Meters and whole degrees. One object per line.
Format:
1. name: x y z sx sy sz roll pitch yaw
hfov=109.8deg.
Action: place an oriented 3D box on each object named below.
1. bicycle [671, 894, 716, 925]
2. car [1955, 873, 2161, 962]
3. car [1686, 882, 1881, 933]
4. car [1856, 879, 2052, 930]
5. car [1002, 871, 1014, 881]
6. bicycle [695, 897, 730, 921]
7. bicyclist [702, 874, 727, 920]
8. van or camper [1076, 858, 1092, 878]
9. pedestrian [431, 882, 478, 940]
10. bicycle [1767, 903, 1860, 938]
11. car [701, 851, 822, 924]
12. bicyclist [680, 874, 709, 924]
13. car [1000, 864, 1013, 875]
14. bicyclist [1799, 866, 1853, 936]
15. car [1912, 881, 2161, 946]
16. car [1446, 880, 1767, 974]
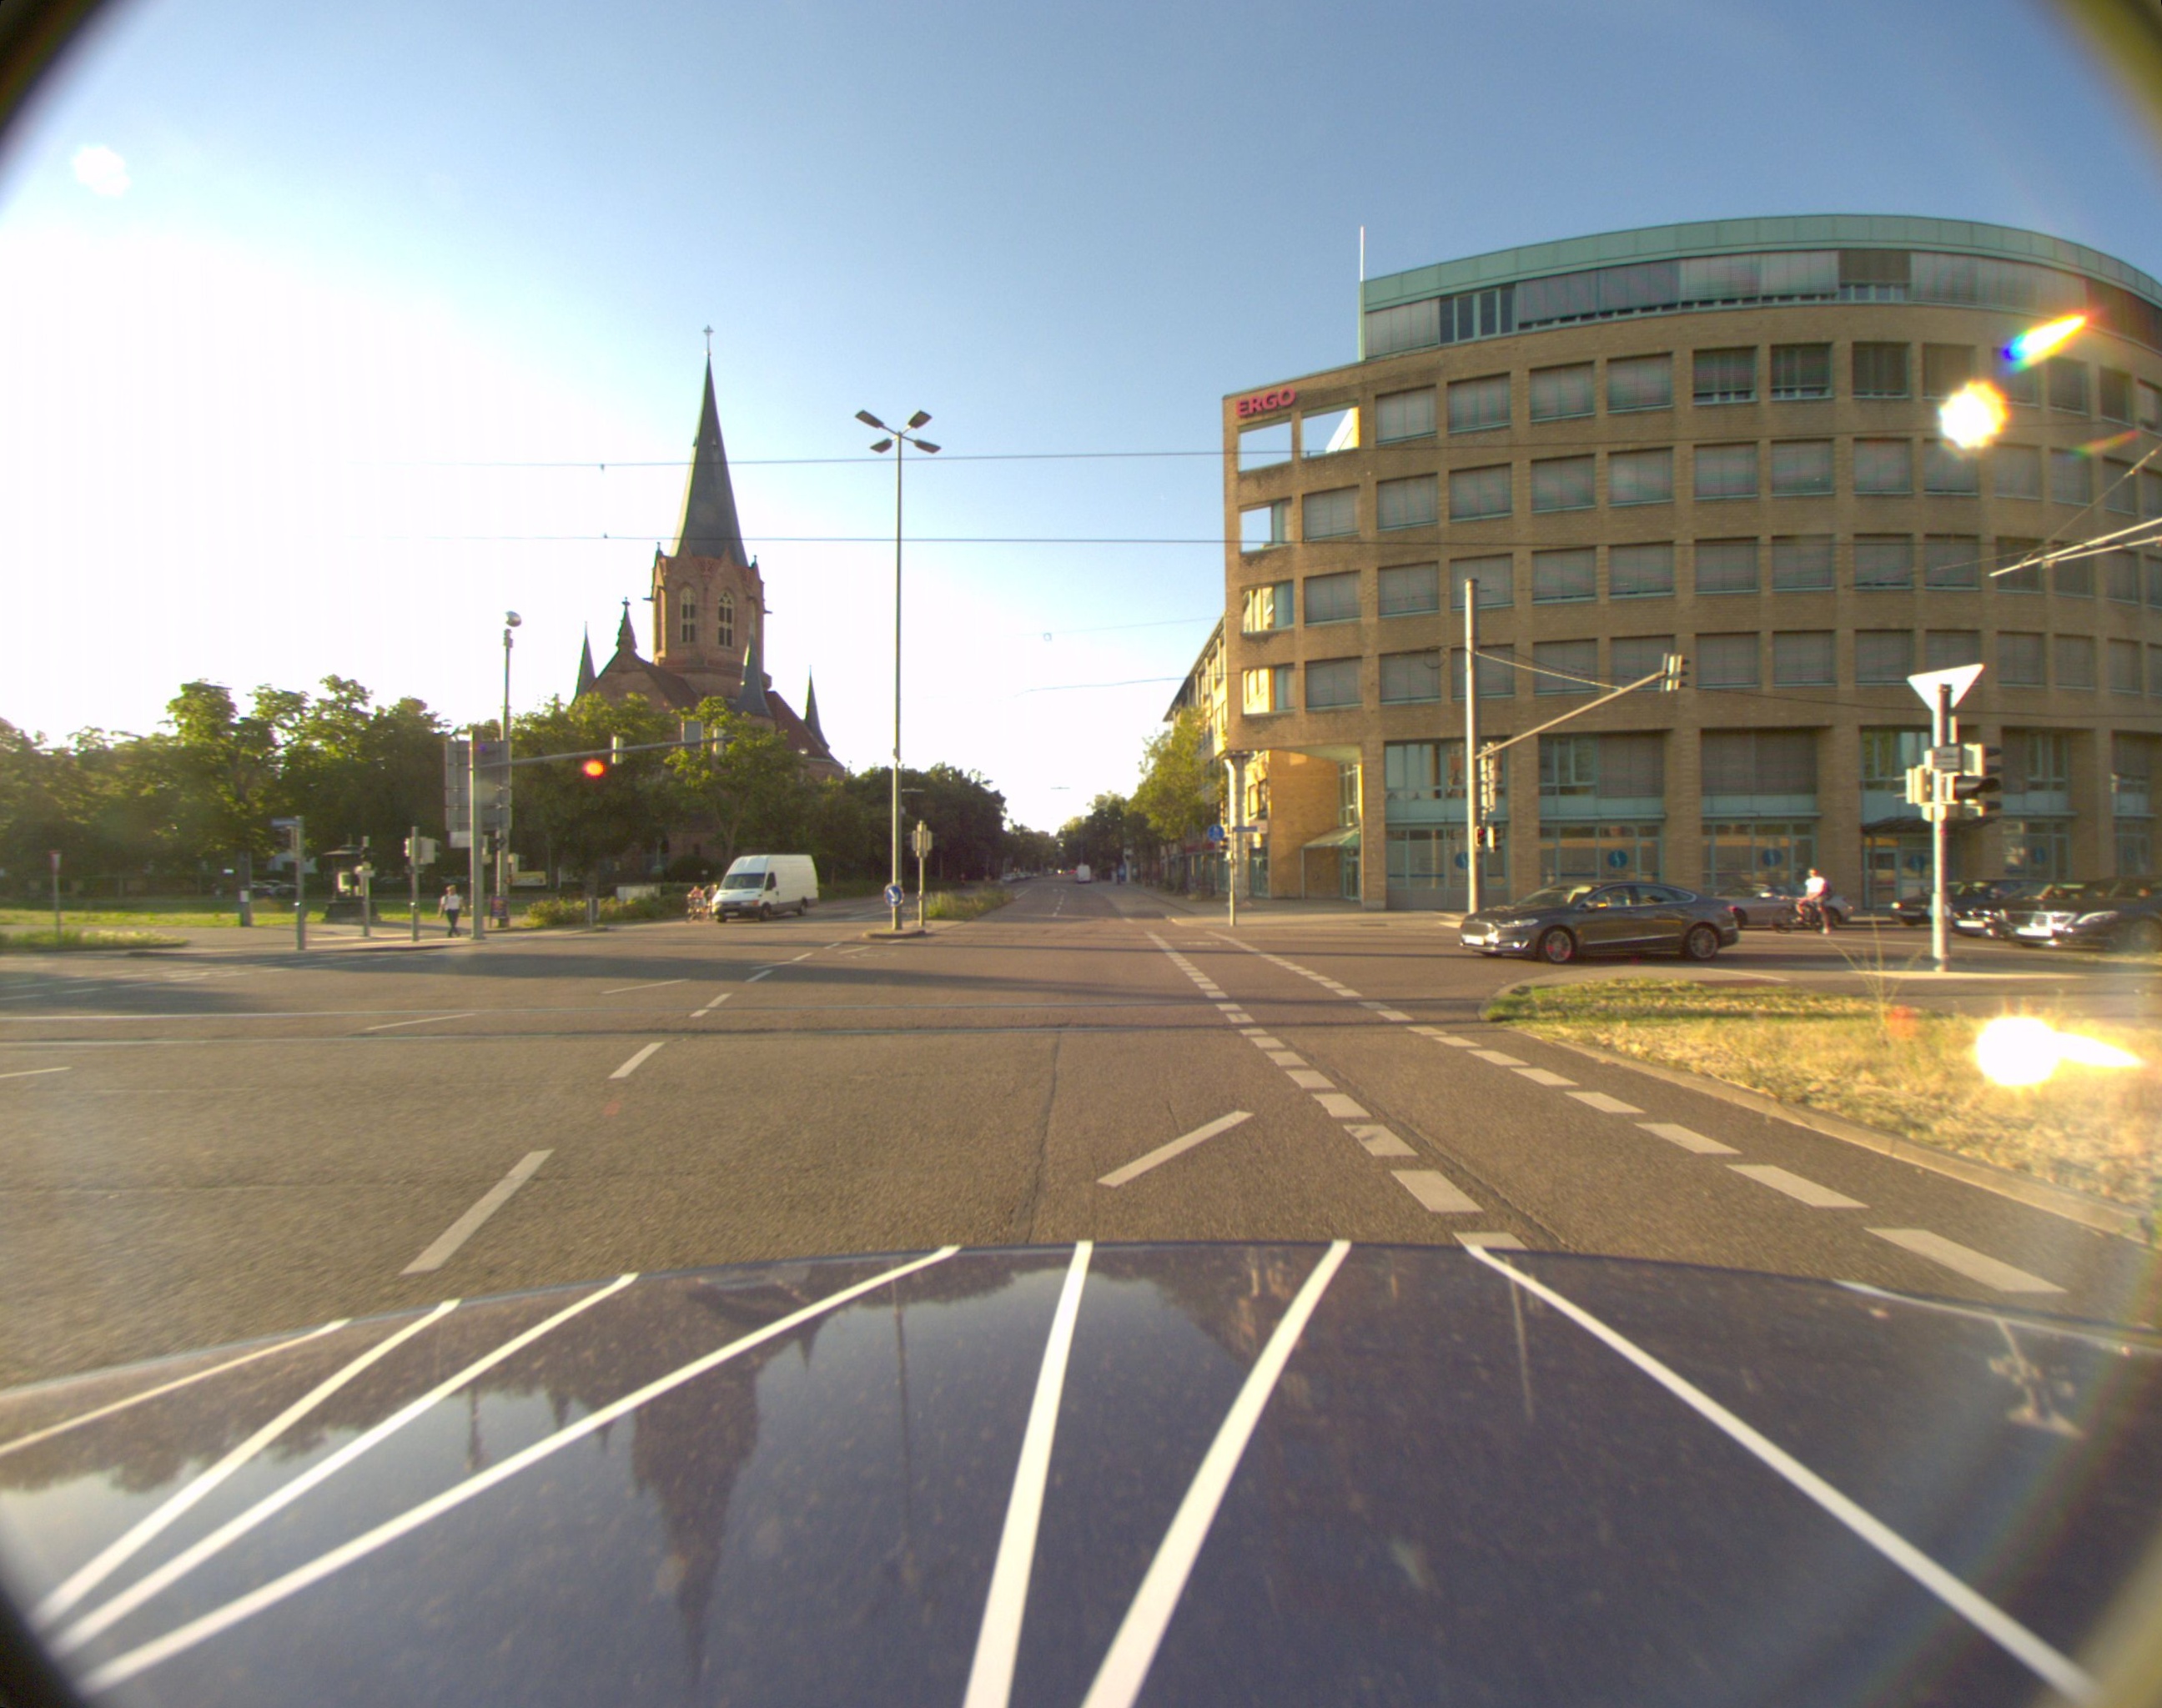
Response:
1. bicycle: -15.961 2.278 31.352 0.733 1.169 1.974 -1 -1 5
2. car: 20.307 1.163 14.666 4.702 1.526 1.899 -1 -1 -1
3. car: 20.907 1.570 22.740 4.224 1.377 1.749 -1 -1 0
4. car: 26.099 1.484 22.803 3.998 1.379 1.760 -1 -1 -2
5. car: -11.914 3.556 123.292 1.907 1.608 3.999 -1 -1 -6
6. bicycle: -16.303 2.413 33.676 0.673 0.975 1.621 -1 -1 4
7. bicyclist: -16.304 1.899 33.811 0.666 2.001 0.875 -1 0 3
8. van or camper: 0.467 2.040 111.344 2.153 2.826 4.405 -1 -1 1
9. pedestrian: -20.111 1.802 24.386 0.809 1.792 0.836 -1 0 15
10. bicycle: 19.307 1.742 20.039 1.869 0.868 0.635 -1 -1 -2
11. car: -13.563 1.358 32.903 2.091 2.810 7.036 -1 -1 1
12. bicyclist: -15.955 1.852 31.381 0.721 2.001 0.902 -1 0 4
13. car: -12.569 2.588 127.794 2.000 1.648 3.998 -1 -1 -8
14. bicyclist: 19.652 1.220 20.042 0.777 1.810 0.635 -1 -1 -2
15. car: 22.832 1.346 17.716 4.736 1.376 2.000 -1 -2 -1
16. car: 9.440 1.259 13.870 4.724 1.477 1.891 0 -1 -6
